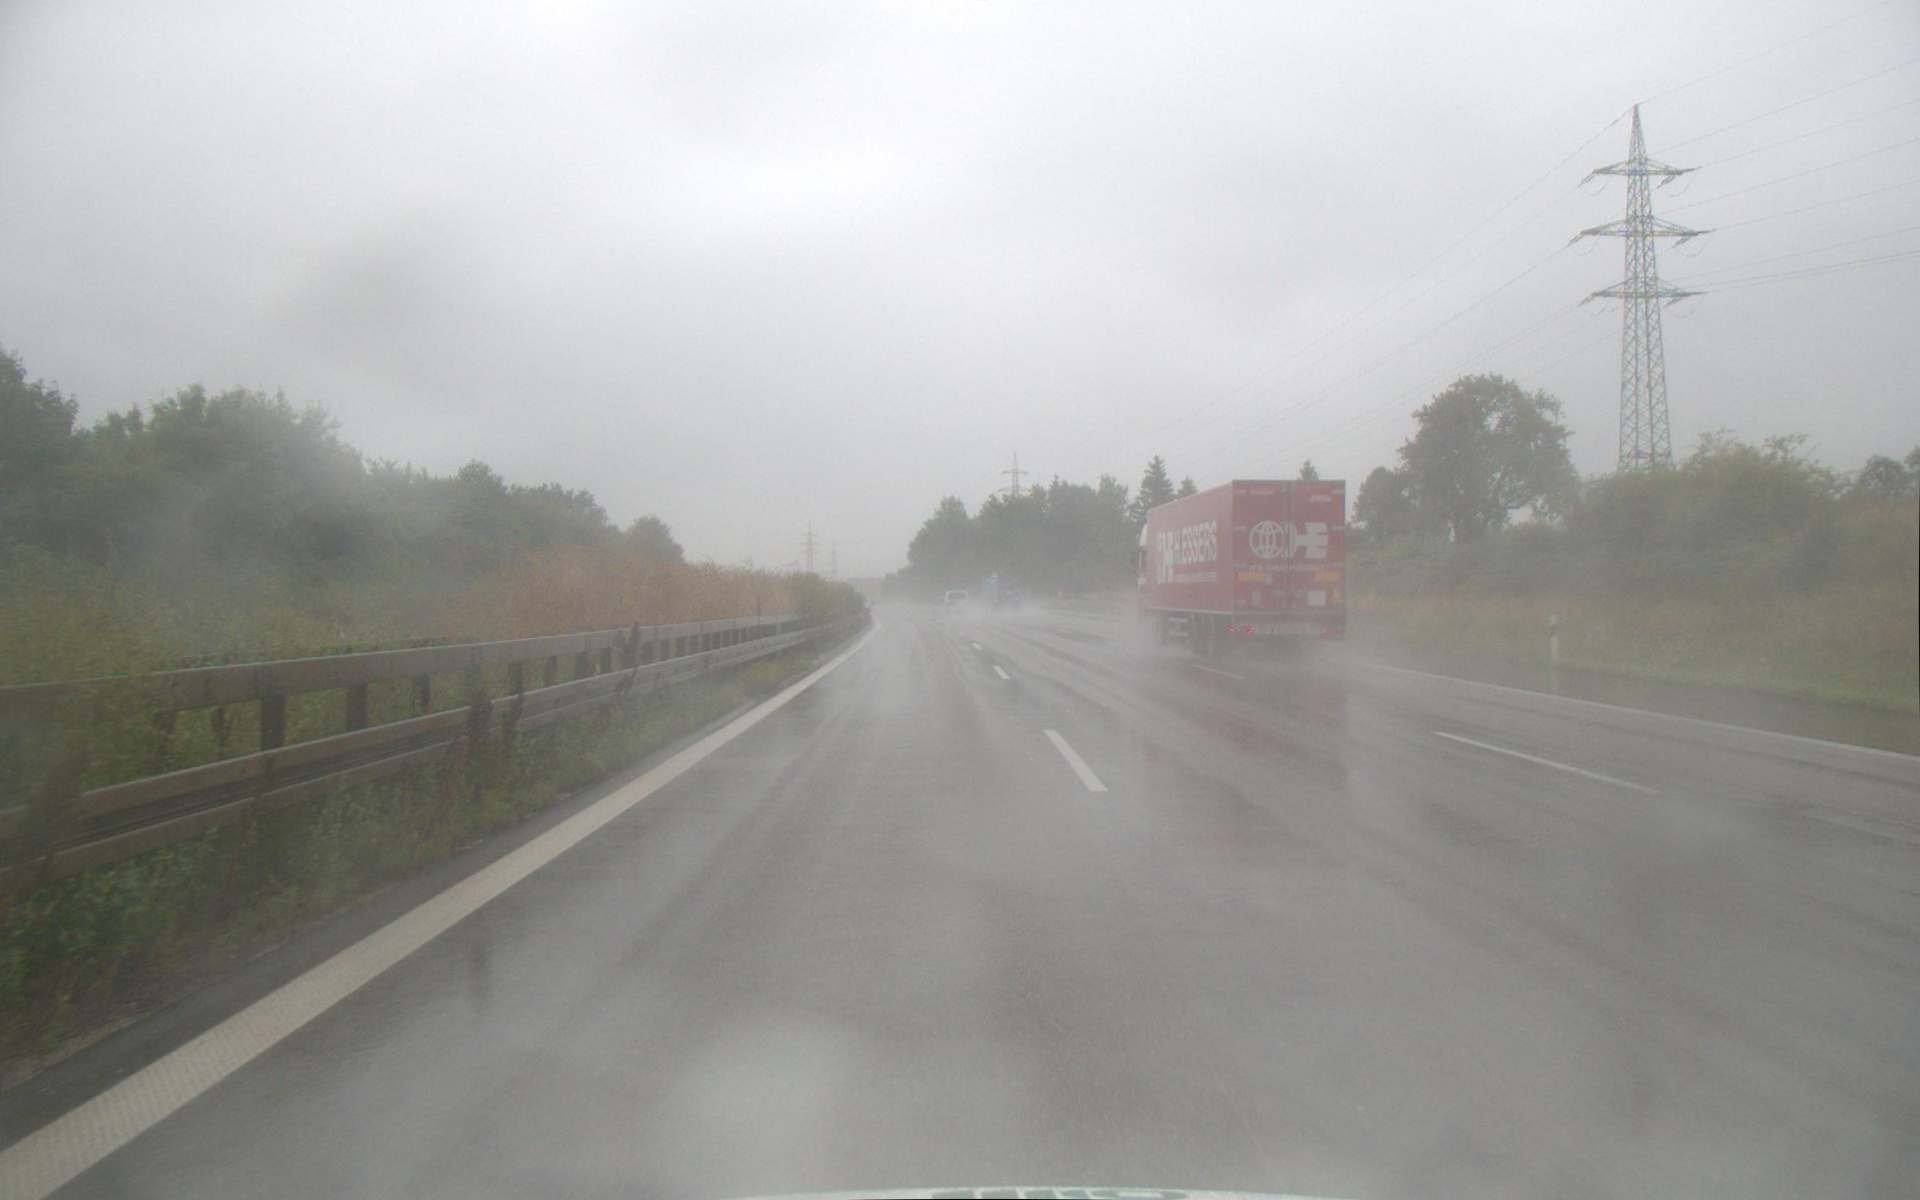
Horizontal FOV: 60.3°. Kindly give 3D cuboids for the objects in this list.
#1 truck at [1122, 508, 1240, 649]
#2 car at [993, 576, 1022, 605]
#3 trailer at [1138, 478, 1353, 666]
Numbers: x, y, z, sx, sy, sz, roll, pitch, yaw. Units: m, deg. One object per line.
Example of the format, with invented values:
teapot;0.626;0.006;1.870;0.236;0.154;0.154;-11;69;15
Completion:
truck;6.708;-0.633;50.844;2.568;4.024;5.430;-2;0;-2
car;3.673;-0.724;128.452;1.772;2.196;3.996;-2;0;-5
trailer;7.012;-0.617;43.154;2.568;4.024;13.623;-2;0;-2
